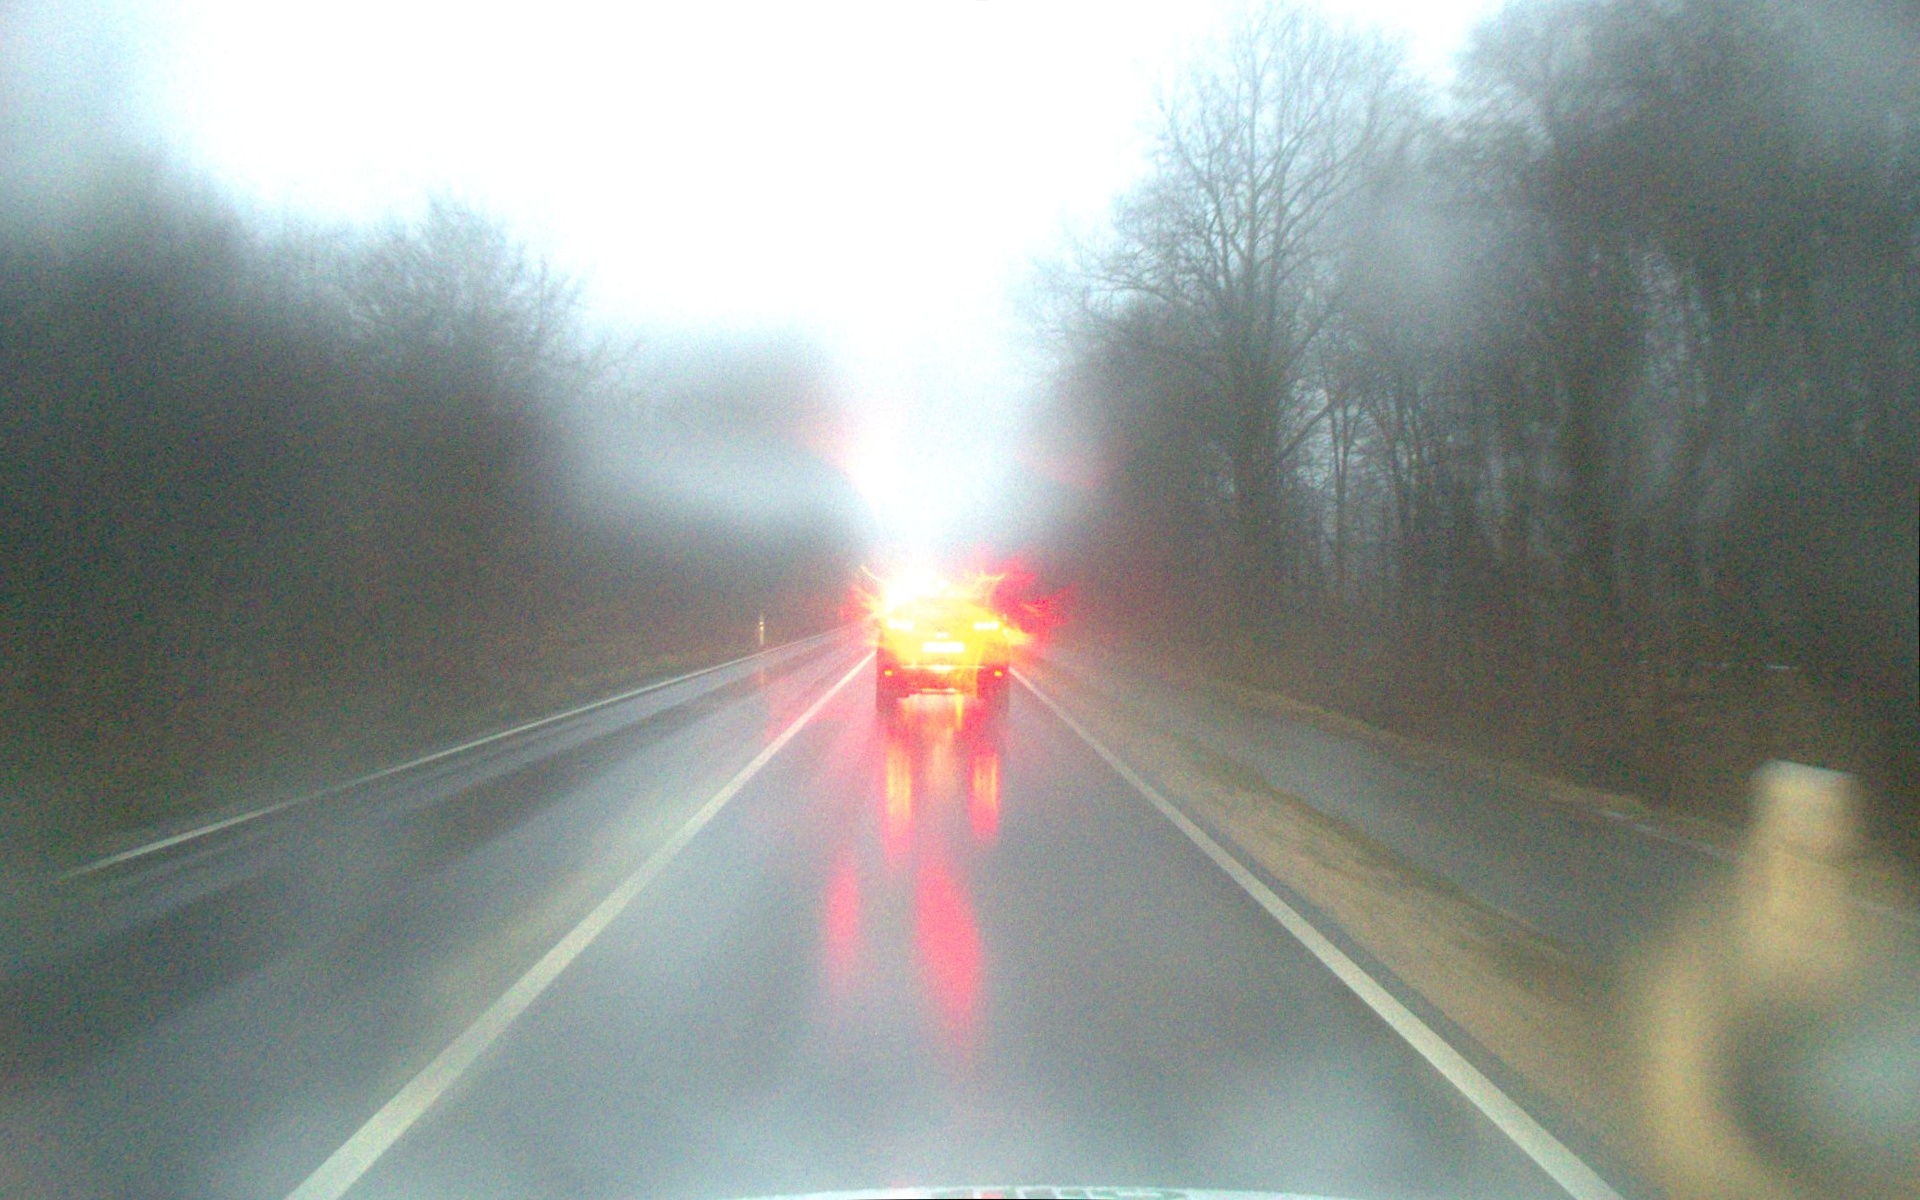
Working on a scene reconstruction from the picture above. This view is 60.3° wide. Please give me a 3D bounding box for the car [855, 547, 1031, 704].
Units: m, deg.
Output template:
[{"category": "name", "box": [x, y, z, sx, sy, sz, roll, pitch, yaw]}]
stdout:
[{"category": "car", "box": [-0.275, 0.288, 22.929, 2.154, 1.910, 4.826, 1, 1, -2]}]
